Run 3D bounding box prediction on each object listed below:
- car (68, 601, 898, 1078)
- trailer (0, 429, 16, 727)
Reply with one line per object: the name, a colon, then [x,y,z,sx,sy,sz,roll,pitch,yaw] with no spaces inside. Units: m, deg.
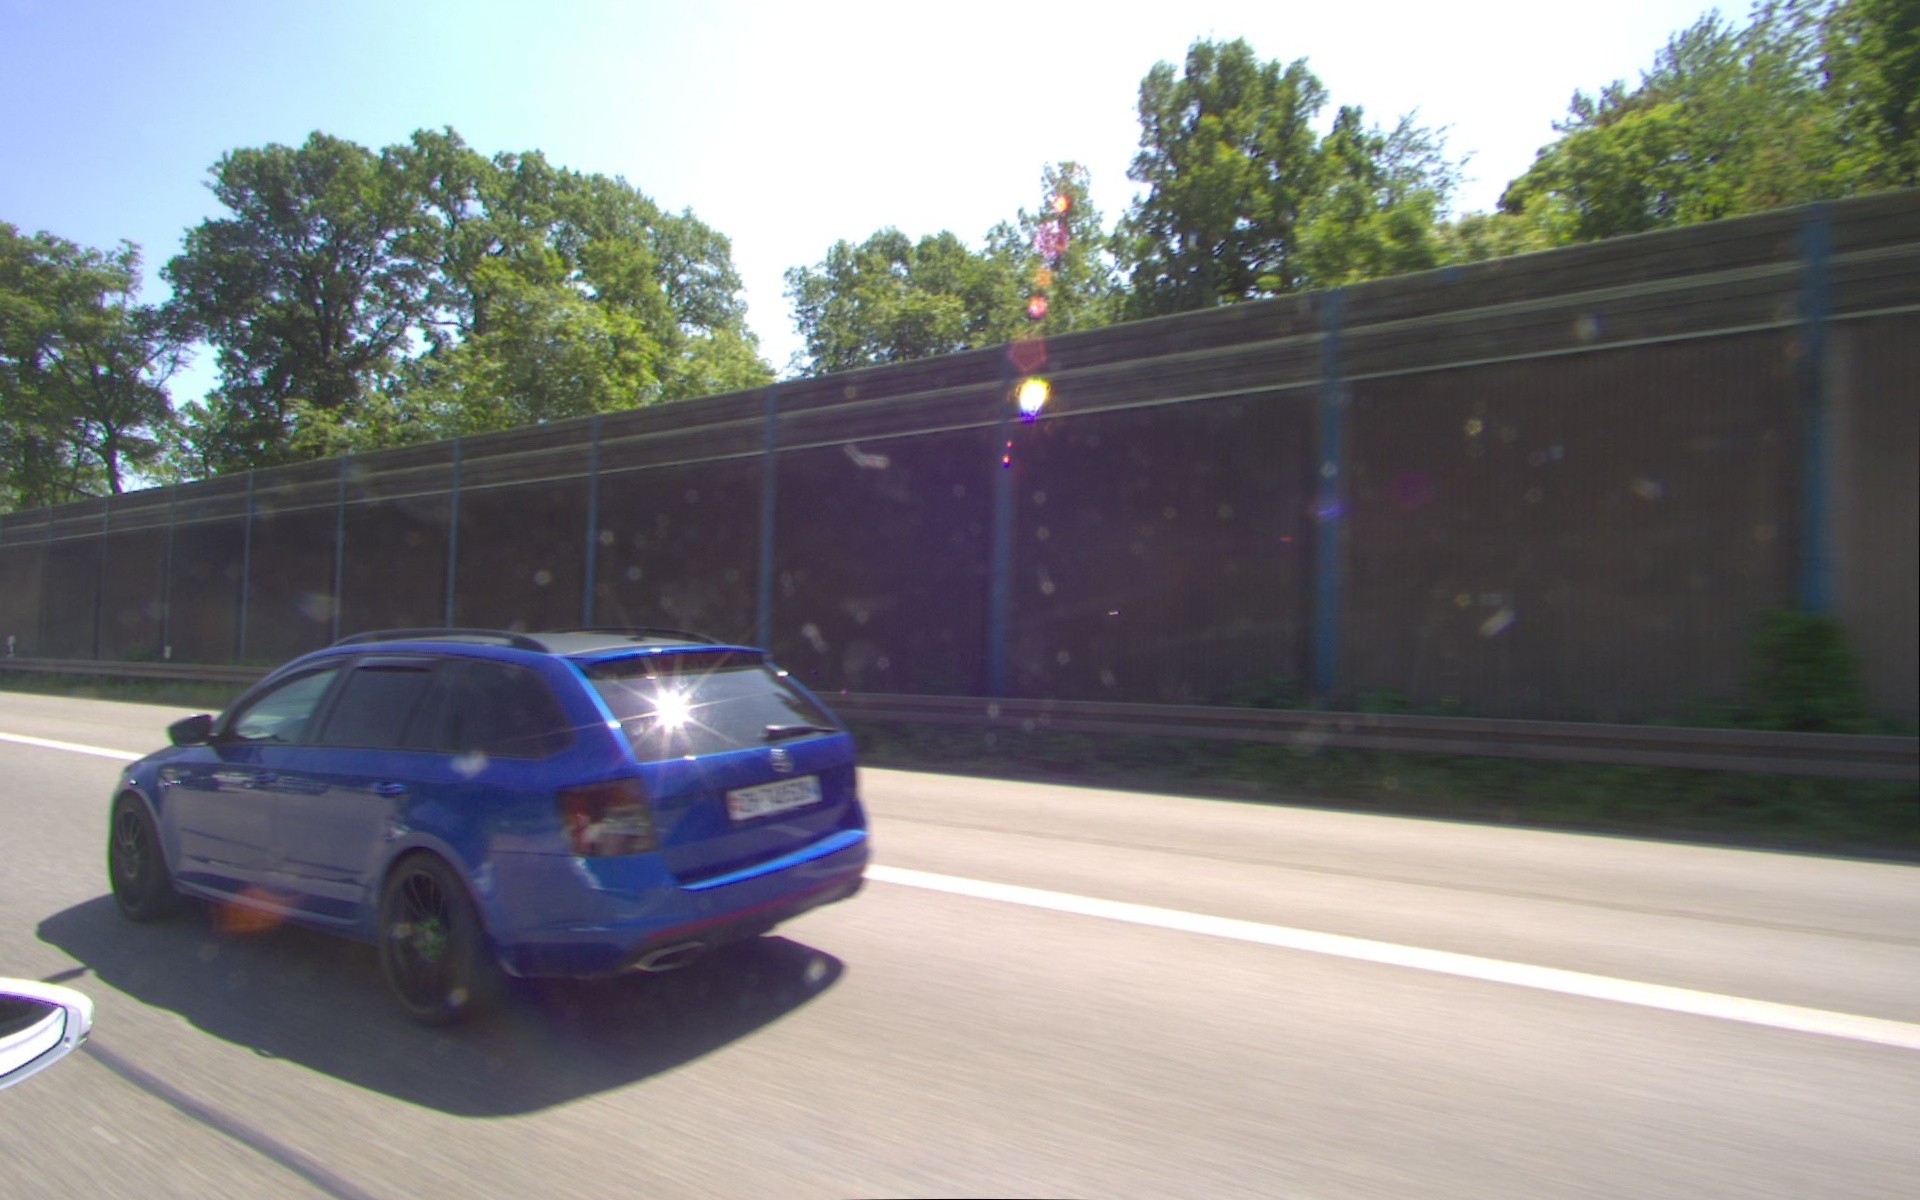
car: [-2.593,0.851,5.035,4.418,1.501,1.648,-2,-2,32]
trailer: [-19.580,-0.225,16.307,13.599,4.090,2.880,-1,-1,33]
